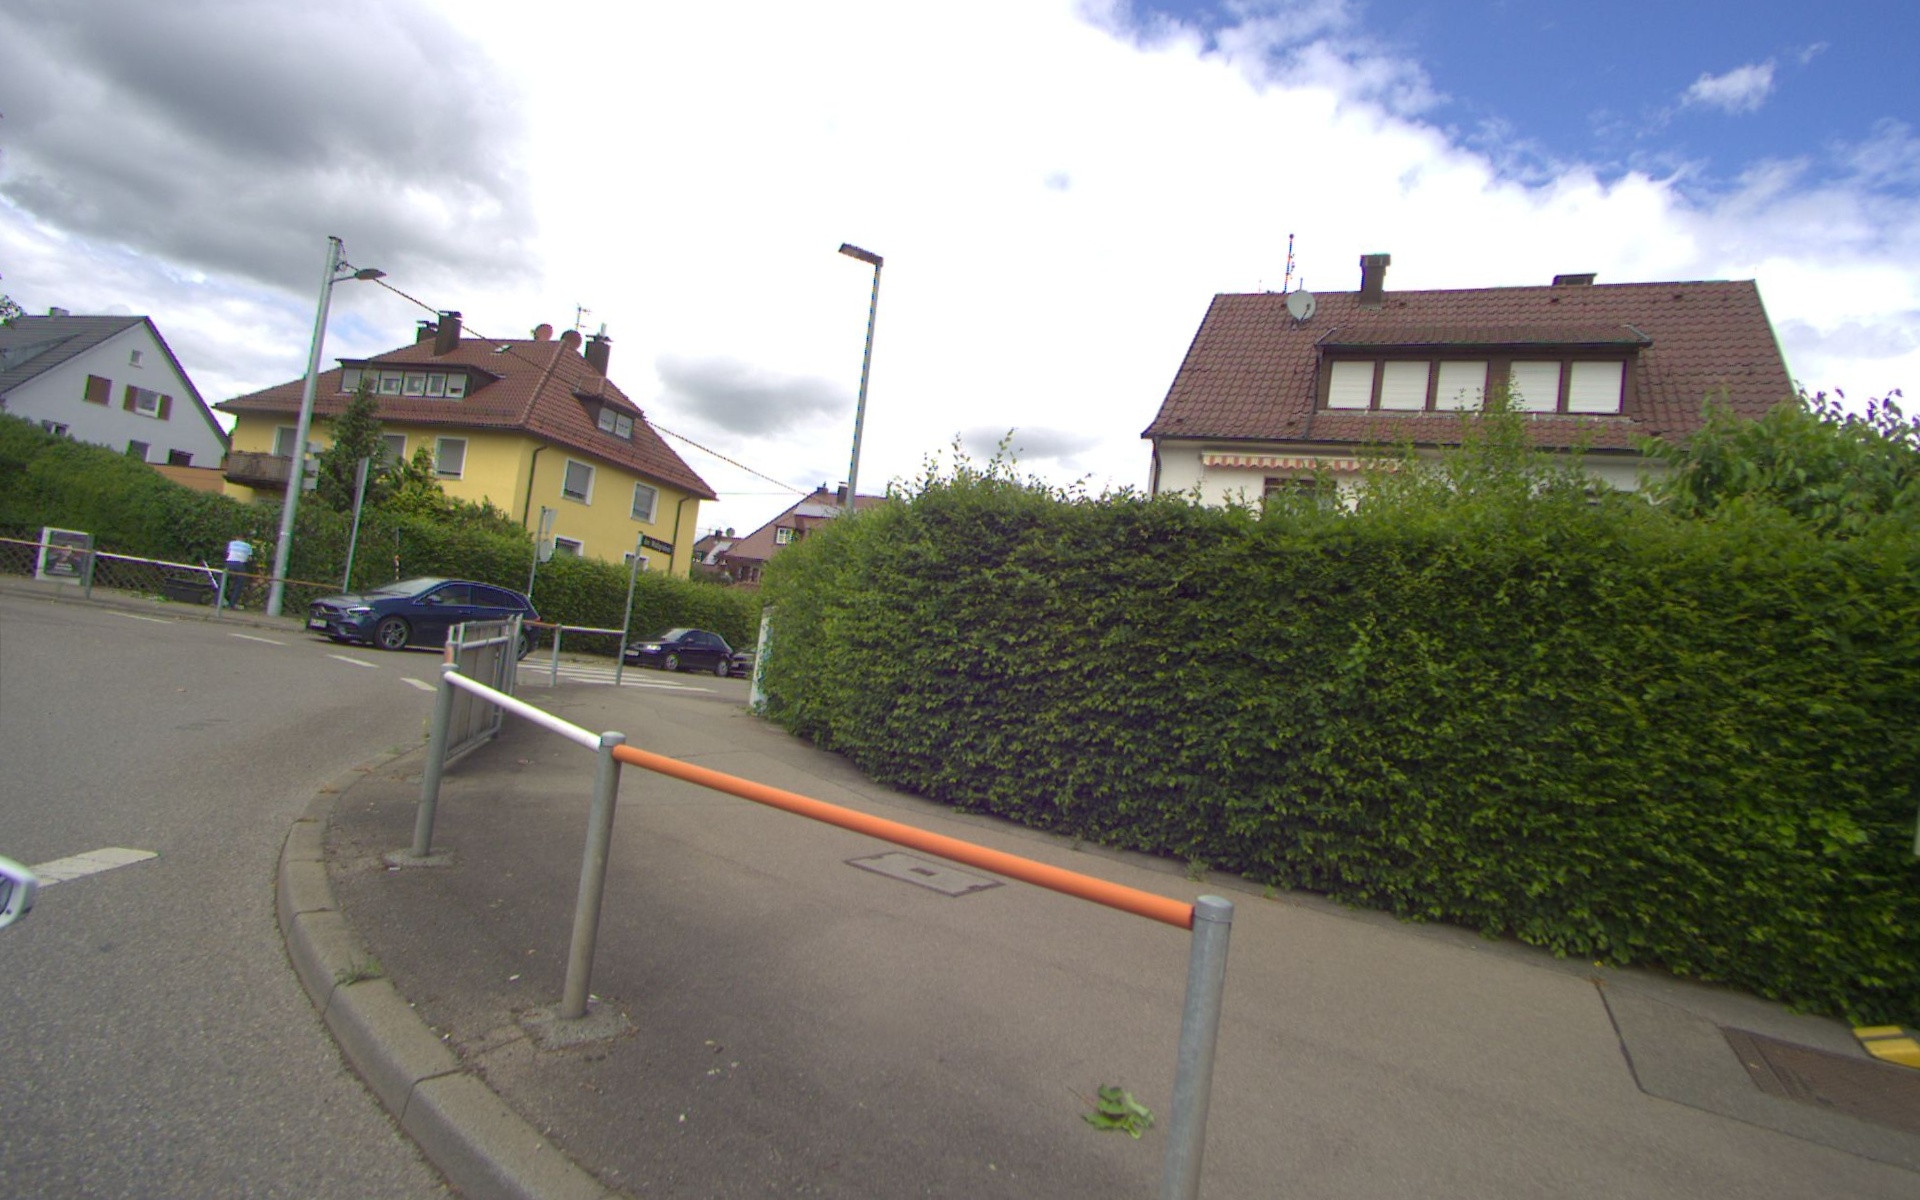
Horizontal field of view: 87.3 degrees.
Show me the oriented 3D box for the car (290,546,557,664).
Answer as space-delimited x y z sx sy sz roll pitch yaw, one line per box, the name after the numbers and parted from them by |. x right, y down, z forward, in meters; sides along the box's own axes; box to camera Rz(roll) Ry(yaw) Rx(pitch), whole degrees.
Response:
-10.545 0.181 20.169 1.622 1.679 4.413 7 -4 29 | car

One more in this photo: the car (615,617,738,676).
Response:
-8.615 1.459 30.836 1.571 1.397 3.643 7 -3 23 | car

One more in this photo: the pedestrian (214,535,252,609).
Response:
-16.088 -0.623 22.260 0.488 1.551 0.479 9 -2 -39 | pedestrian

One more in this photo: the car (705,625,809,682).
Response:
-6.966 1.888 34.836 1.623 1.568 3.603 7 -3 23 | car
